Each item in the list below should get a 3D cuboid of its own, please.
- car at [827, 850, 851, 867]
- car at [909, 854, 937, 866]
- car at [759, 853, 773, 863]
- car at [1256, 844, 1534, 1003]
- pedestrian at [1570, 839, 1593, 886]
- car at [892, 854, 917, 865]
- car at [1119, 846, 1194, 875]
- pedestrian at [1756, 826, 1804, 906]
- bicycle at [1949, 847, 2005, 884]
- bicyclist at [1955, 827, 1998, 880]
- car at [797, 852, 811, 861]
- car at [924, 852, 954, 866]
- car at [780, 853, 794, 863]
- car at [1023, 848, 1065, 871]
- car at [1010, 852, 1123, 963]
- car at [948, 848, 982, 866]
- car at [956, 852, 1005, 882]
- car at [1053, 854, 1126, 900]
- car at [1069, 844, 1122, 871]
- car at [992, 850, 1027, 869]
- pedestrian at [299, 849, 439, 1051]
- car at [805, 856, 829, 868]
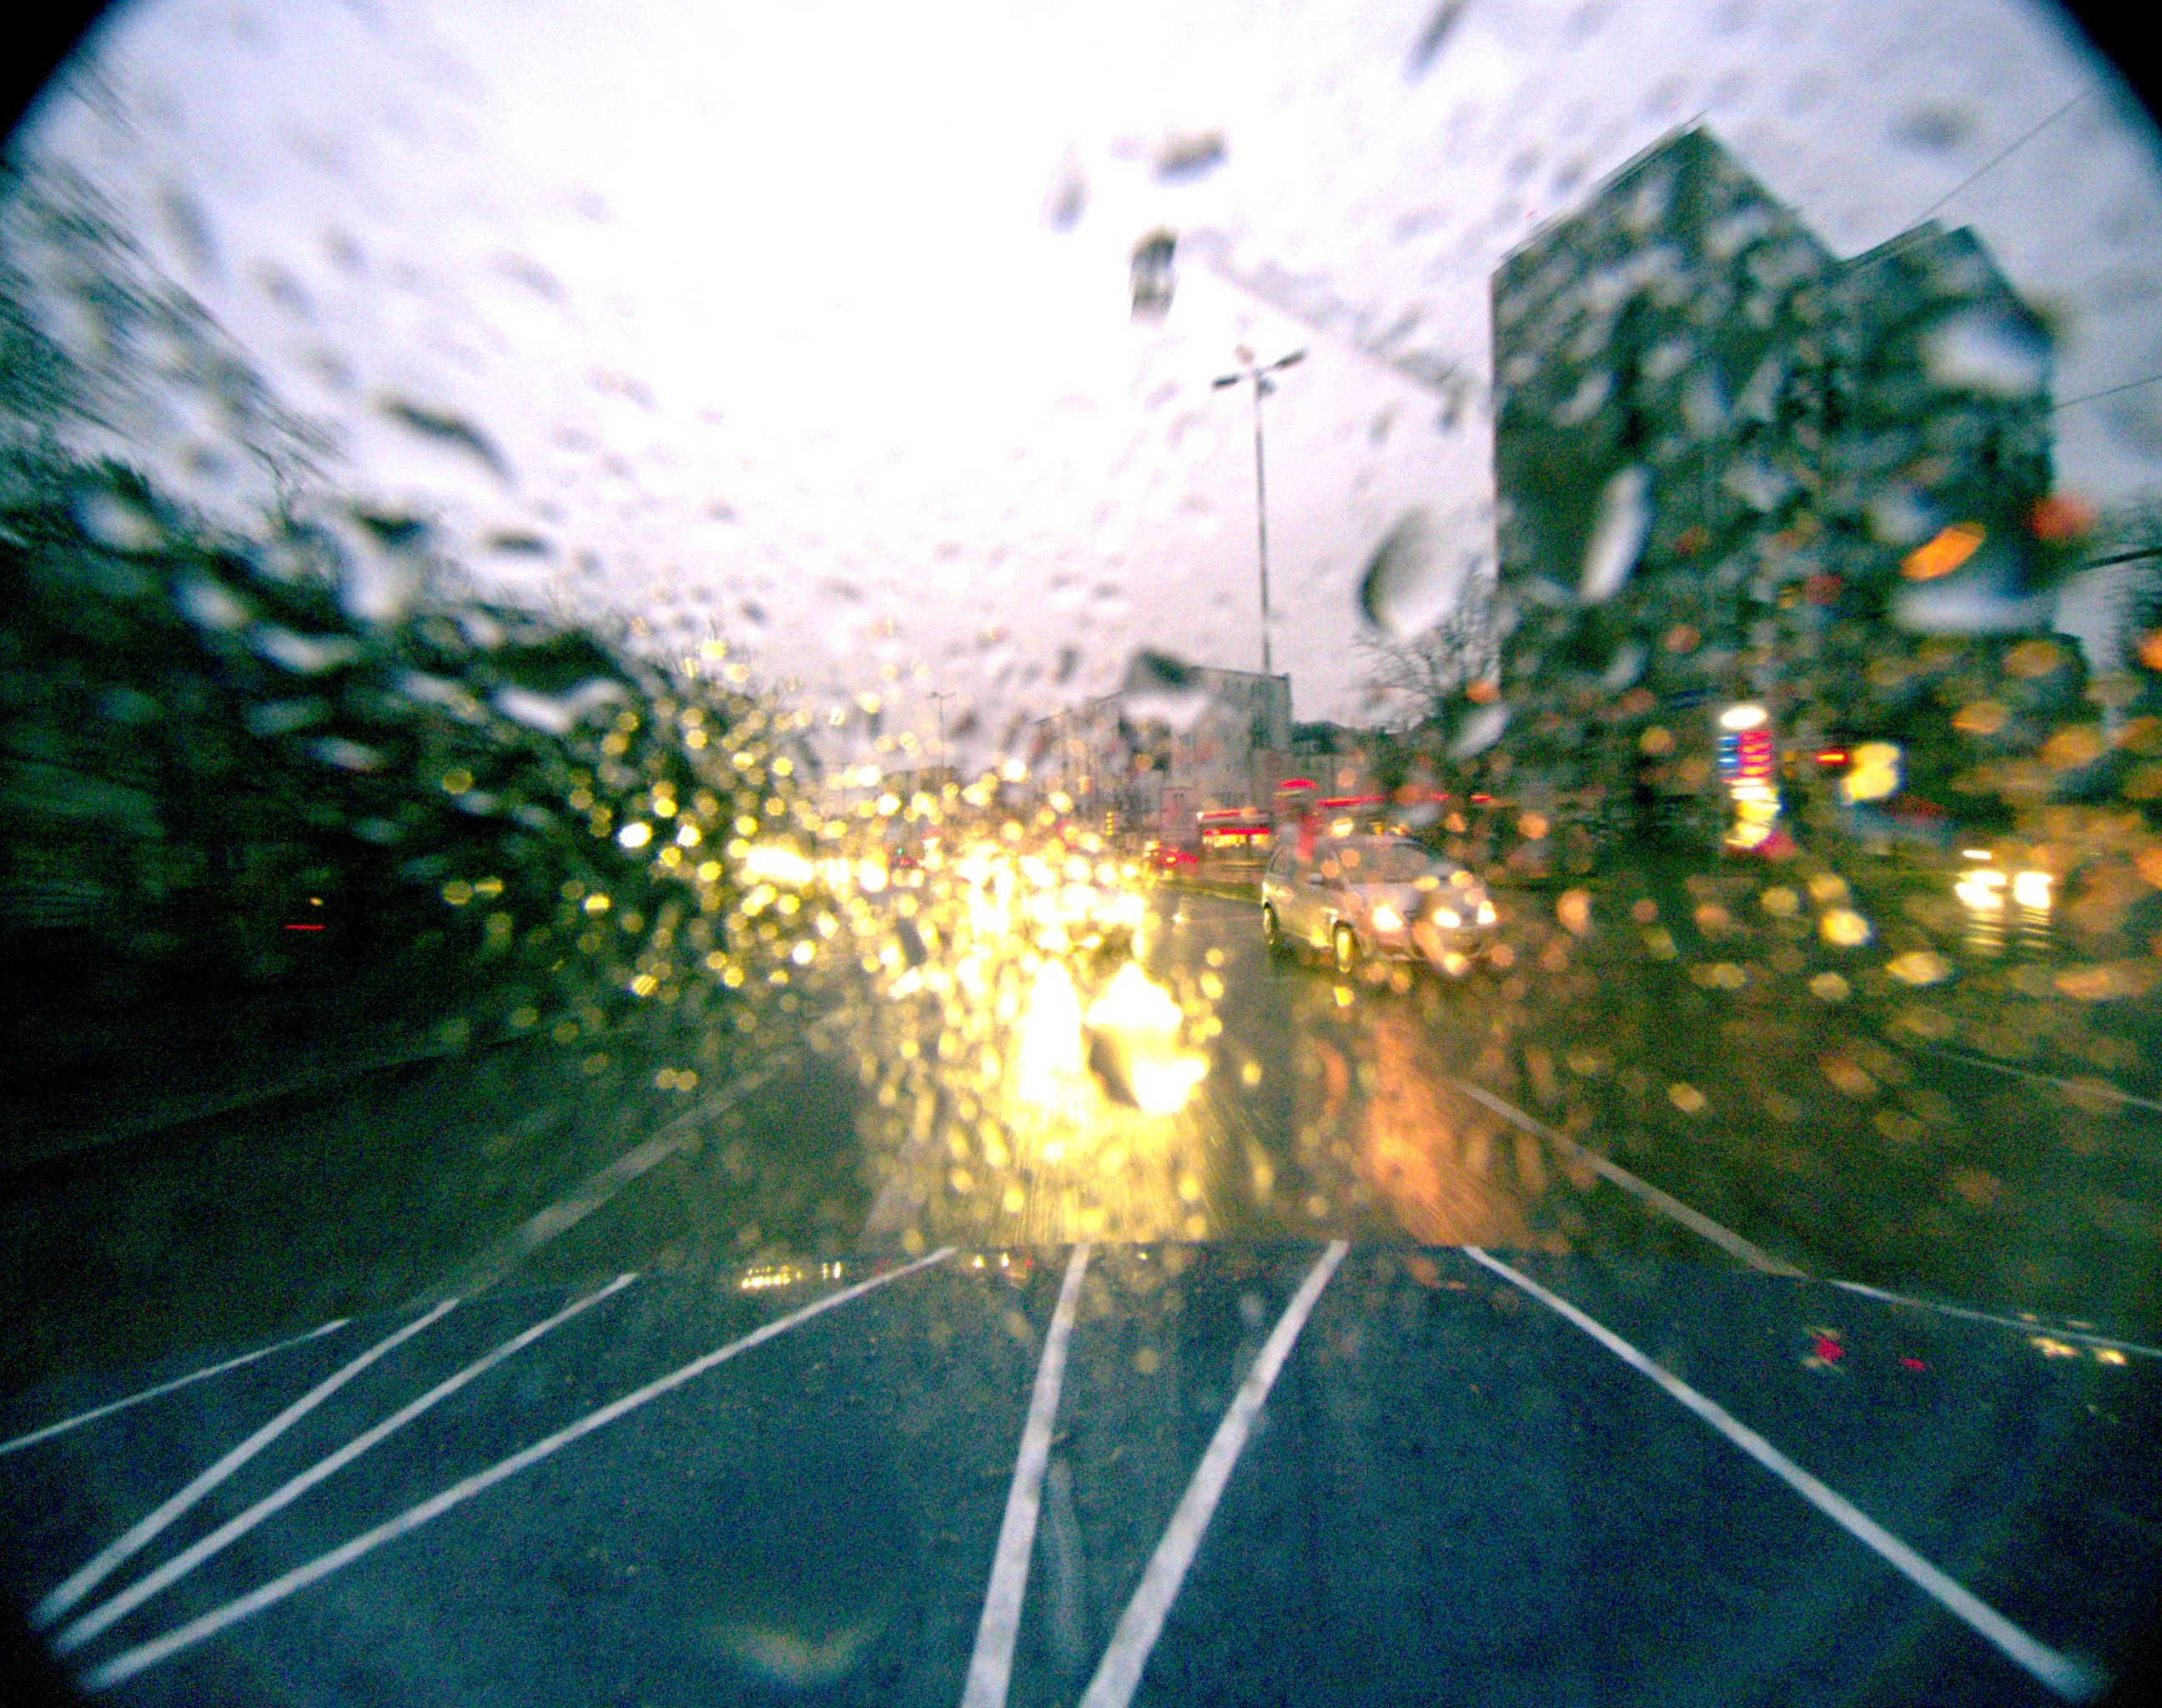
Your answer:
[{"bbox_3d":[-29.534,0.577,92.806,2.003,2.002,3.991,-2,1,-29],"label":"car"},{"bbox_3d":[-18.456,0.709,88.564,1.972,1.378,4.524,-1,0,-28],"label":"car"},{"bbox_3d":[-55.957,0.661,134.952,2.002,1.686,3.991,-3,1,-27],"label":"car"},{"bbox_3d":[3.653,0.675,9.719,1.650,1.539,4.107,-2,1,-3],"label":"car"},{"bbox_3d":[19.401,0.315,29.432,0.629,1.782,0.531,-3,1,-39],"label":"pedestrian"},{"bbox_3d":[-22.541,0.695,97.020,1.972,1.378,4.524,-1,0,-28],"label":"car"},{"bbox_3d":[4.000,0.321,40.603,1.652,1.441,3.840,-3,2,-42],"label":"car"},{"bbox_3d":[15.739,0.253,17.117,0.468,1.762,0.628,-2,2,-6],"label":"pedestrian"},{"bbox_3d":[23.983,0.281,20.366,0.505,0.895,1.988,-2,1,36],"label":"bicycle"},{"bbox_3d":[23.967,-0.019,20.356,0.505,1.382,0.971,-2,1,36],"label":"bicyclist"},{"bbox_3d":[-50.729,0.442,139.076,2.002,1.599,3.991,-3,1,-27],"label":"car"},{"bbox_3d":[-15.516,0.576,82.911,1.972,1.505,4.524,-1,0,-28],"label":"car"},{"bbox_3d":[-53.406,0.737,137.939,2.002,1.526,3.991,-3,1,-27],"label":"car"},{"bbox_3d":[-2.793,0.410,56.649,1.652,1.621,4.651,-1,0,-22],"label":"car"},{"bbox_3d":[-0.395,0.812,13.525,1.650,1.575,3.802,-2,1,-6],"label":"car"},{"bbox_3d":[-11.669,0.319,76.422,1.971,1.772,4.524,-1,0,-27],"label":"car"},{"bbox_3d":[-6.195,0.764,46.570,1.823,1.732,4.178,-1,0,-24],"label":"car"},{"bbox_3d":[0.244,0.772,27.977,1.755,1.535,3.995,-1,0,-13],"label":"car"},{"bbox_3d":[1.016,0.286,57.305,2.003,1.934,4.844,0,0,-26],"label":"car"},{"bbox_3d":[-6.028,0.460,63.762,1.653,1.478,4.136,-1,0,-25],"label":"car"},{"bbox_3d":[-6.888,0.896,7.382,0.574,1.827,0.683,4,-1,0],"label":"pedestrian"},{"bbox_3d":[-30.803,0.937,88.649,1.972,1.378,4.524,-1,0,-28],"label":"car"}]
